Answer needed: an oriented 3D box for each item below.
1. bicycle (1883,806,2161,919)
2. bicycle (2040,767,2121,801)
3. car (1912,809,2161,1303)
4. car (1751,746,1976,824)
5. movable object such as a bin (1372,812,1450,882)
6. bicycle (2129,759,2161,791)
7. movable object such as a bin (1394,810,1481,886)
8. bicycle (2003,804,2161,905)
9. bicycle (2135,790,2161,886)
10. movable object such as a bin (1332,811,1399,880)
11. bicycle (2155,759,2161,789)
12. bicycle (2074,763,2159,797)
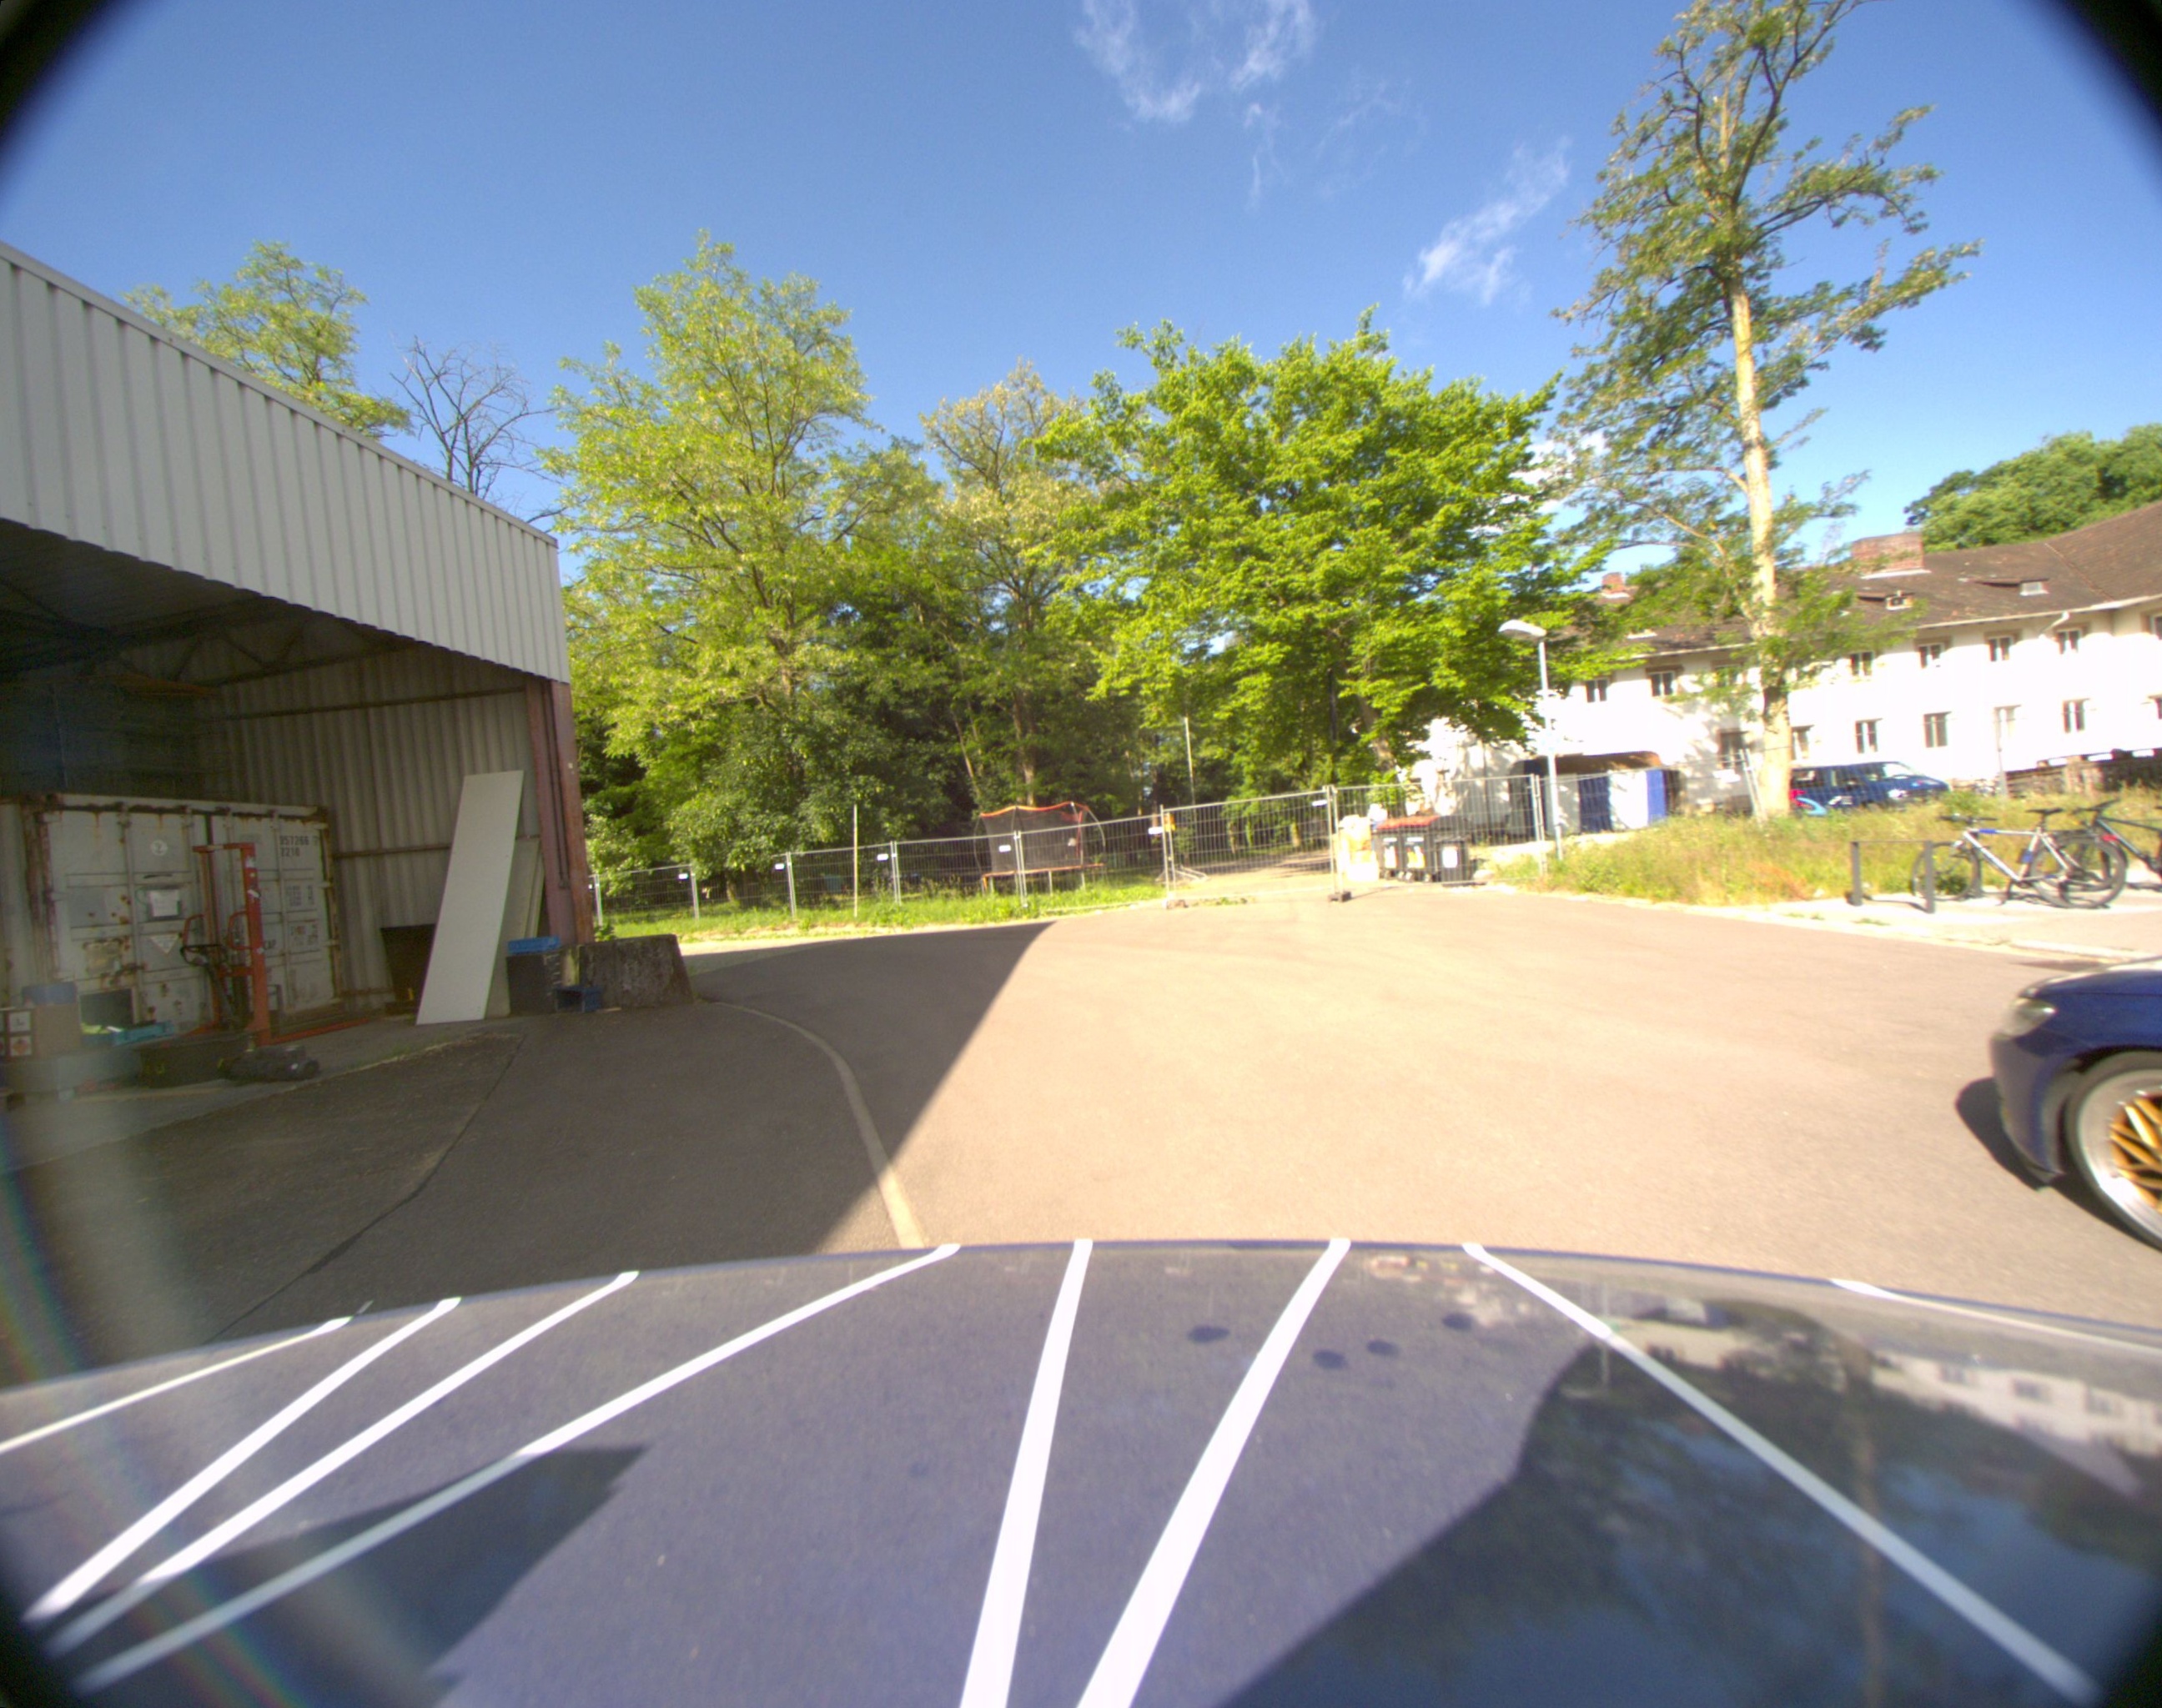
[{"bbox_3d":[9.560,0.073,7.843,0.482,0.982,1.835,-6,1,-2],"label":"bicycle"},{"bbox_3d":[37.791,-2.639,28.764,0.758,1.126,1.829,-6,3,8],"label":"bicycle"},{"bbox_3d":[3.839,0.540,0.670,1.778,1.353,4.053,-6,1,2],"label":"car"},{"bbox_3d":[24.640,-2.086,24.263,2.057,2.001,4.873,-6,3,0],"label":"car"},{"bbox_3d":[7.524,-0.157,17.376,1.093,1.431,1.230,-7,2,-2],"label":"movable object such as a bin"},{"bbox_3d":[40.906,-2.979,28.471,0.795,1.126,1.844,-6,3,8],"label":"bicycle"},{"bbox_3d":[7.496,-0.129,16.043,1.093,1.424,1.230,-7,2,-2],"label":"movable object such as a bin"},{"bbox_3d":[10.764,-0.005,7.702,0.482,0.954,1.834,-6,1,-2],"label":"bicycle"},{"bbox_3d":[12.089,-0.188,7.579,0.482,1.031,1.830,-6,1,-2],"label":"bicycle"},{"bbox_3d":[7.202,-0.231,19.293,1.093,1.588,1.230,-5,3,-2],"label":"movable object such as a bin"},{"bbox_3d":[41.816,-3.079,28.412,0.795,1.126,1.841,-6,3,8],"label":"bicycle"},{"bbox_3d":[38.974,-2.768,28.642,0.795,1.126,1.844,-6,3,8],"label":"bicycle"}]
